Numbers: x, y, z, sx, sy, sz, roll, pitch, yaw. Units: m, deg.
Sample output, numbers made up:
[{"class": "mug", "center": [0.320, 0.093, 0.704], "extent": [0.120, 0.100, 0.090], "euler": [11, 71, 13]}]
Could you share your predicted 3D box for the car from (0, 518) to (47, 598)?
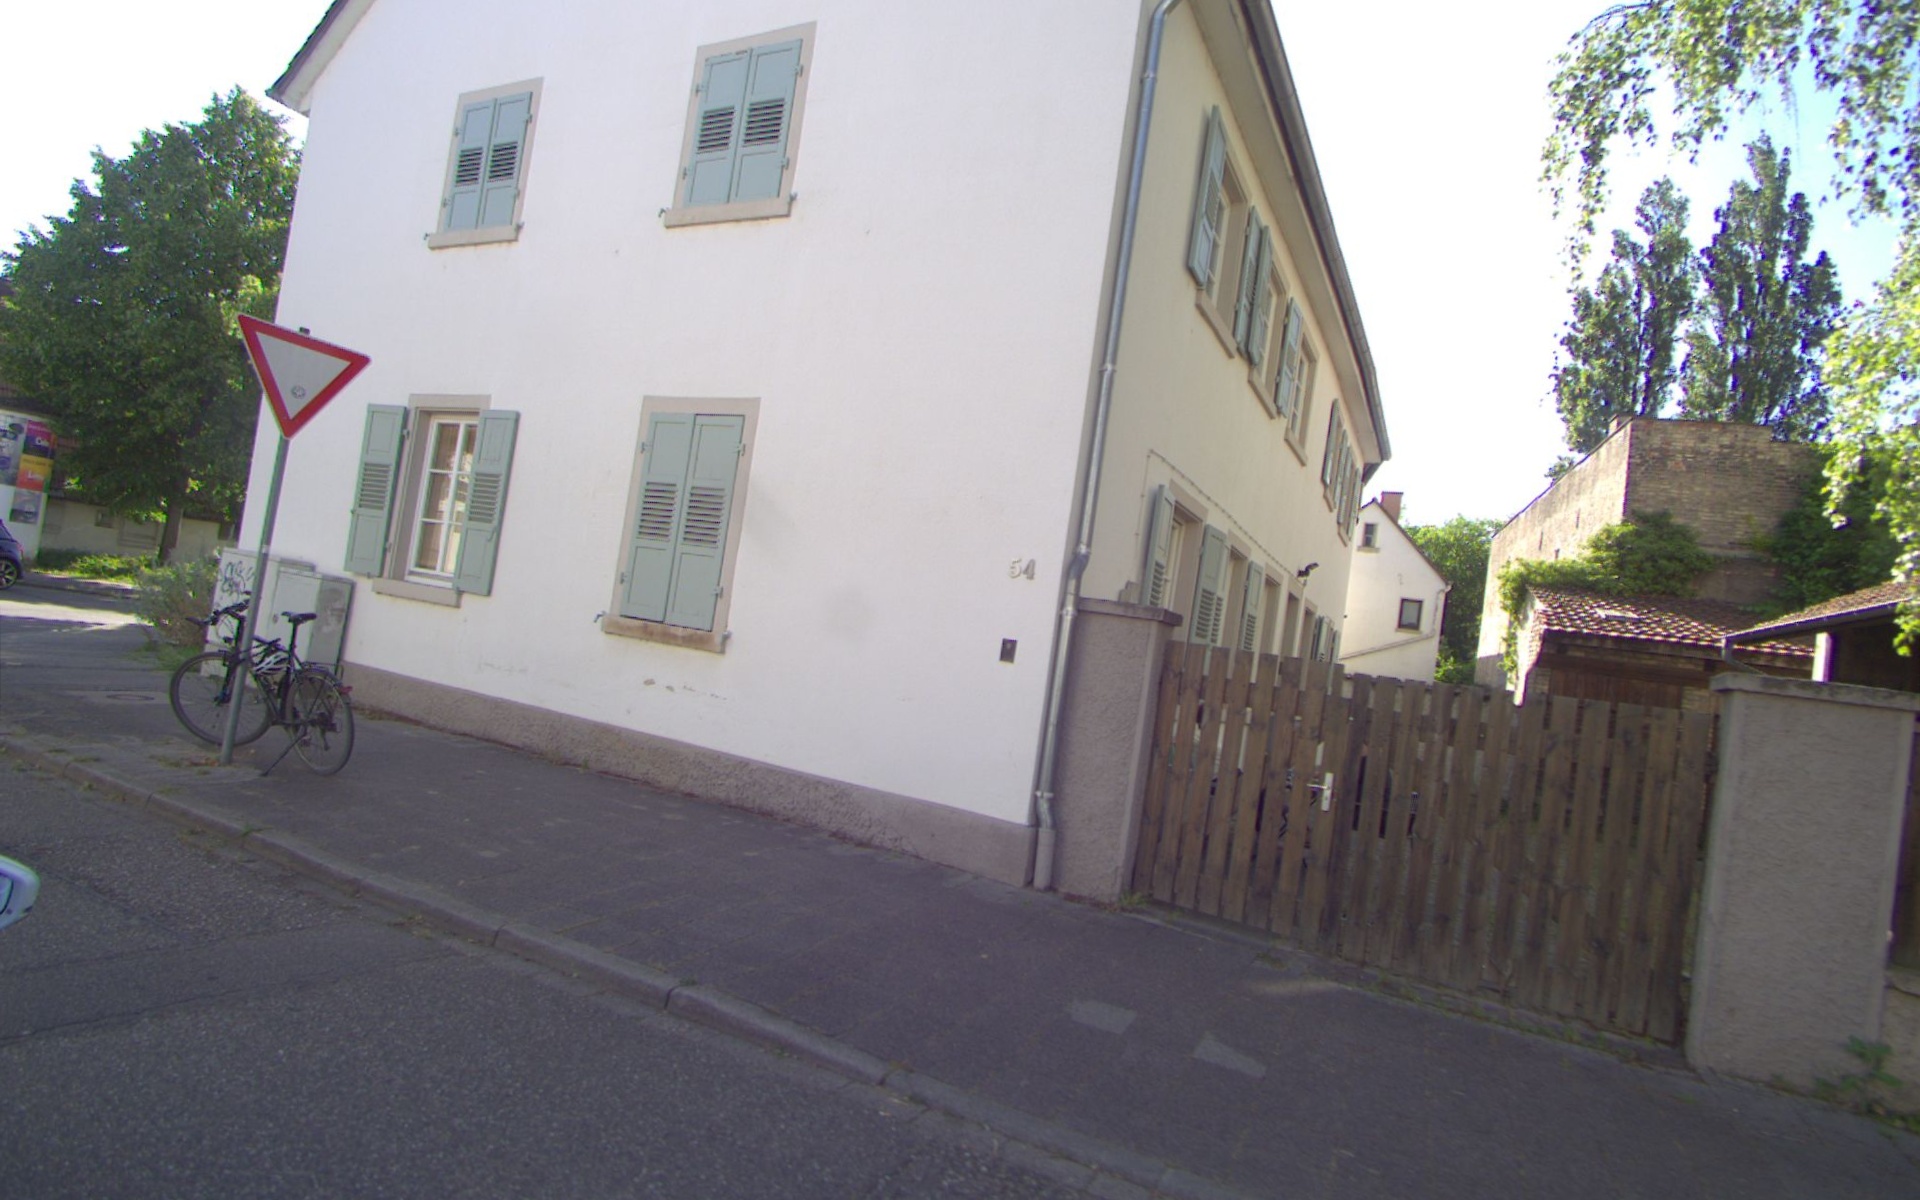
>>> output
[{"class": "car", "center": [-19.679, -1.072, 18.448], "extent": [1.634, 1.493, 4.009], "euler": [8, -4, 11]}]

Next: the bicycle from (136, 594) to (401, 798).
[{"class": "bicycle", "center": [-4.772, 0.622, 6.916], "extent": [1.855, 1.092, 0.436], "euler": [7, -1, 22]}]
